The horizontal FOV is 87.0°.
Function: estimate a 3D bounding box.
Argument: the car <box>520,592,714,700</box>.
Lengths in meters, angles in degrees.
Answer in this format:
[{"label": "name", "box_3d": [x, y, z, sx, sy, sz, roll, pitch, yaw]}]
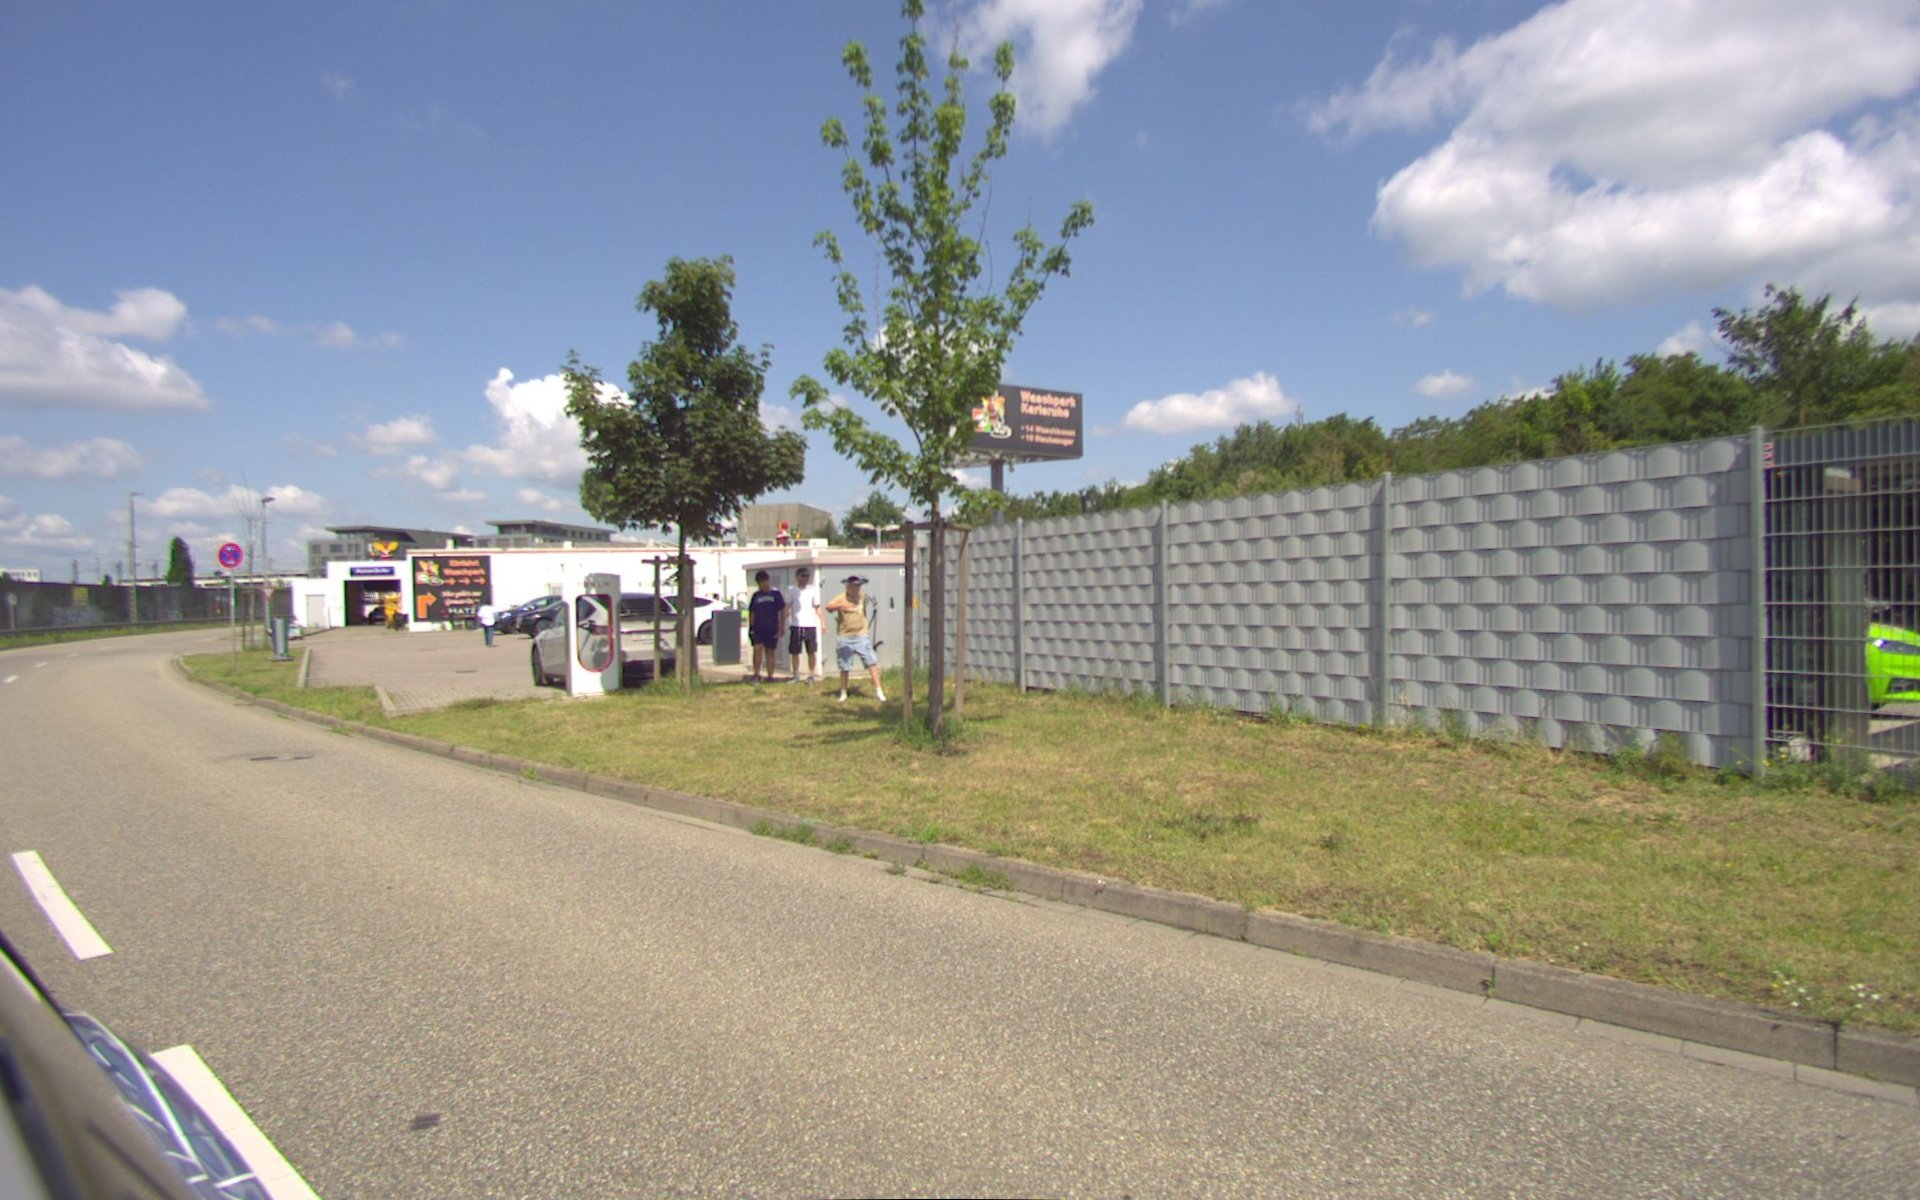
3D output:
[{"label": "car", "box_3d": [-6.037, 0.759, 17.389, 1.905, 1.529, 4.787, -2, -1, -34]}]

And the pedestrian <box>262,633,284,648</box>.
[{"label": "pedestrian", "box_3d": [-35.974, 2.114, 53.020, 0.850, 0.766, 0.820, 0, -1, -26]}]

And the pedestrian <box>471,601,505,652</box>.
[{"label": "pedestrian", "box_3d": [-16.163, 0.896, 34.666, 0.851, 1.666, 0.943, -2, 0, -37]}]

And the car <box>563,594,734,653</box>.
[{"label": "car", "box_3d": [-9.404, 0.650, 30.703, 4.492, 1.535, 2.004, -2, 1, -37]}]

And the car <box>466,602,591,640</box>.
[{"label": "car", "box_3d": [-19.288, 0.910, 45.307, 4.684, 1.466, 2.242, -2, 1, -37]}]

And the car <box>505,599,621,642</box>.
[{"label": "car", "box_3d": [-15.877, 0.782, 40.552, 3.934, 1.530, 2.005, -2, 1, -36]}]

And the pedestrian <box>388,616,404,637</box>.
[{"label": "pedestrian", "box_3d": [-34.894, 1.631, 62.595, 0.742, 1.266, 0.902, -2, 0, -23]}]

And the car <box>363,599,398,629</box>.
[{"label": "car", "box_3d": [-43.980, 1.039, 76.894, 1.965, 2.125, 5.027, -1, 0, -26]}]

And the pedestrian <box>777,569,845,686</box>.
[{"label": "pedestrian", "box_3d": [-2.052, 0.369, 14.005, 0.750, 1.577, 0.712, -1, 0, 6]}]

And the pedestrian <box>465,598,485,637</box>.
[{"label": "pedestrian", "box_3d": [-26.386, 0.953, 55.089, 0.924, 2.028, 0.868, -1, 2, -27]}]

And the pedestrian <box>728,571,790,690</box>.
[{"label": "pedestrian", "box_3d": [-2.775, 0.412, 14.026, 0.703, 1.591, 0.722, -1, 0, 0]}]

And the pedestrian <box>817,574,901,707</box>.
[{"label": "pedestrian", "box_3d": [-1.241, 0.467, 12.380, 0.728, 1.553, 0.818, -1, 0, -32]}]

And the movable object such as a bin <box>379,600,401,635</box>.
[{"label": "movable object such as a bin", "box_3d": [-38.355, 1.152, 68.151, 1.047, 2.168, 2.713, -2, 2, -25]}]
